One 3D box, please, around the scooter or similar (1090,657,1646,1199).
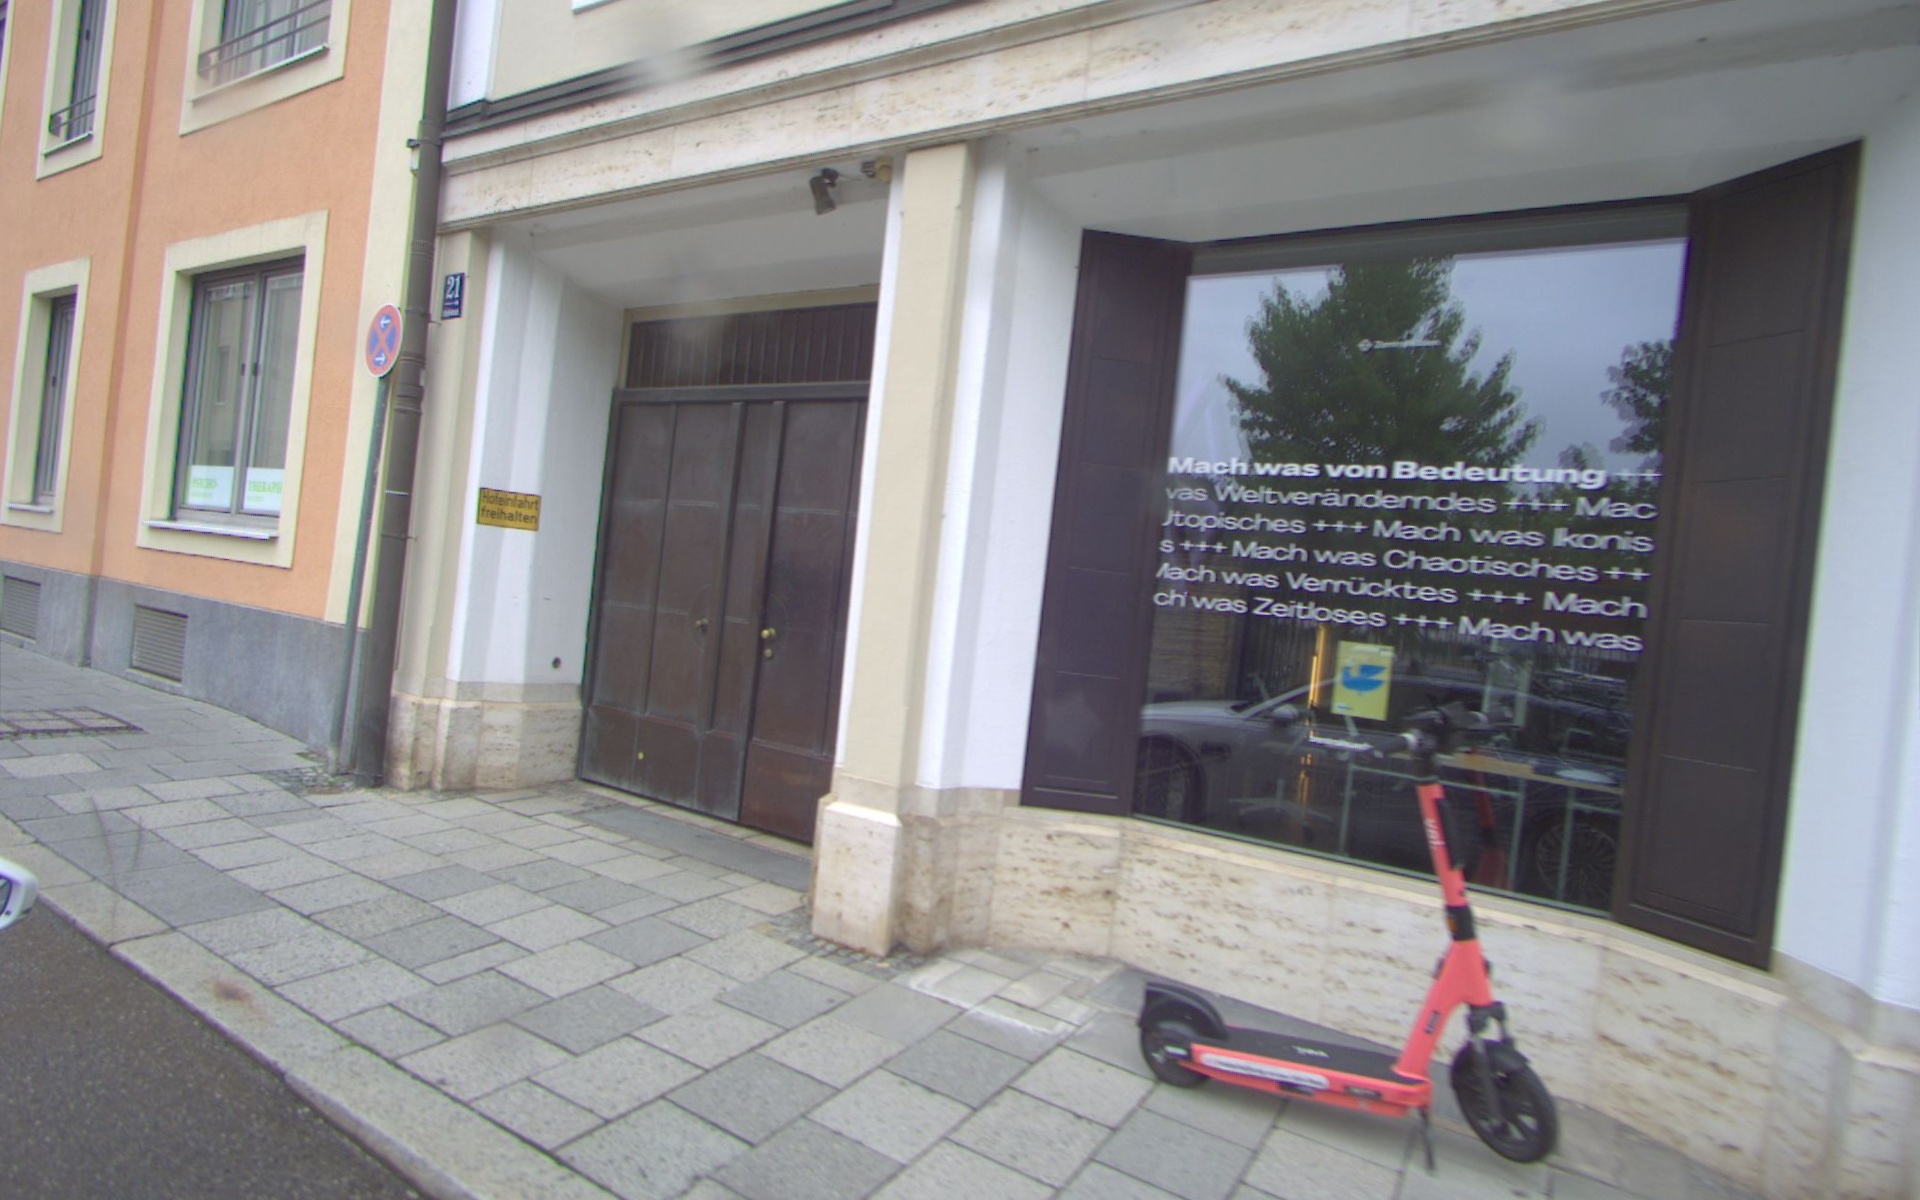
[{"bbox_3d":[1.096,0.883,2.905,1.253,1.276,0.466,6,3,18],"label":"scooter or similar"}]
